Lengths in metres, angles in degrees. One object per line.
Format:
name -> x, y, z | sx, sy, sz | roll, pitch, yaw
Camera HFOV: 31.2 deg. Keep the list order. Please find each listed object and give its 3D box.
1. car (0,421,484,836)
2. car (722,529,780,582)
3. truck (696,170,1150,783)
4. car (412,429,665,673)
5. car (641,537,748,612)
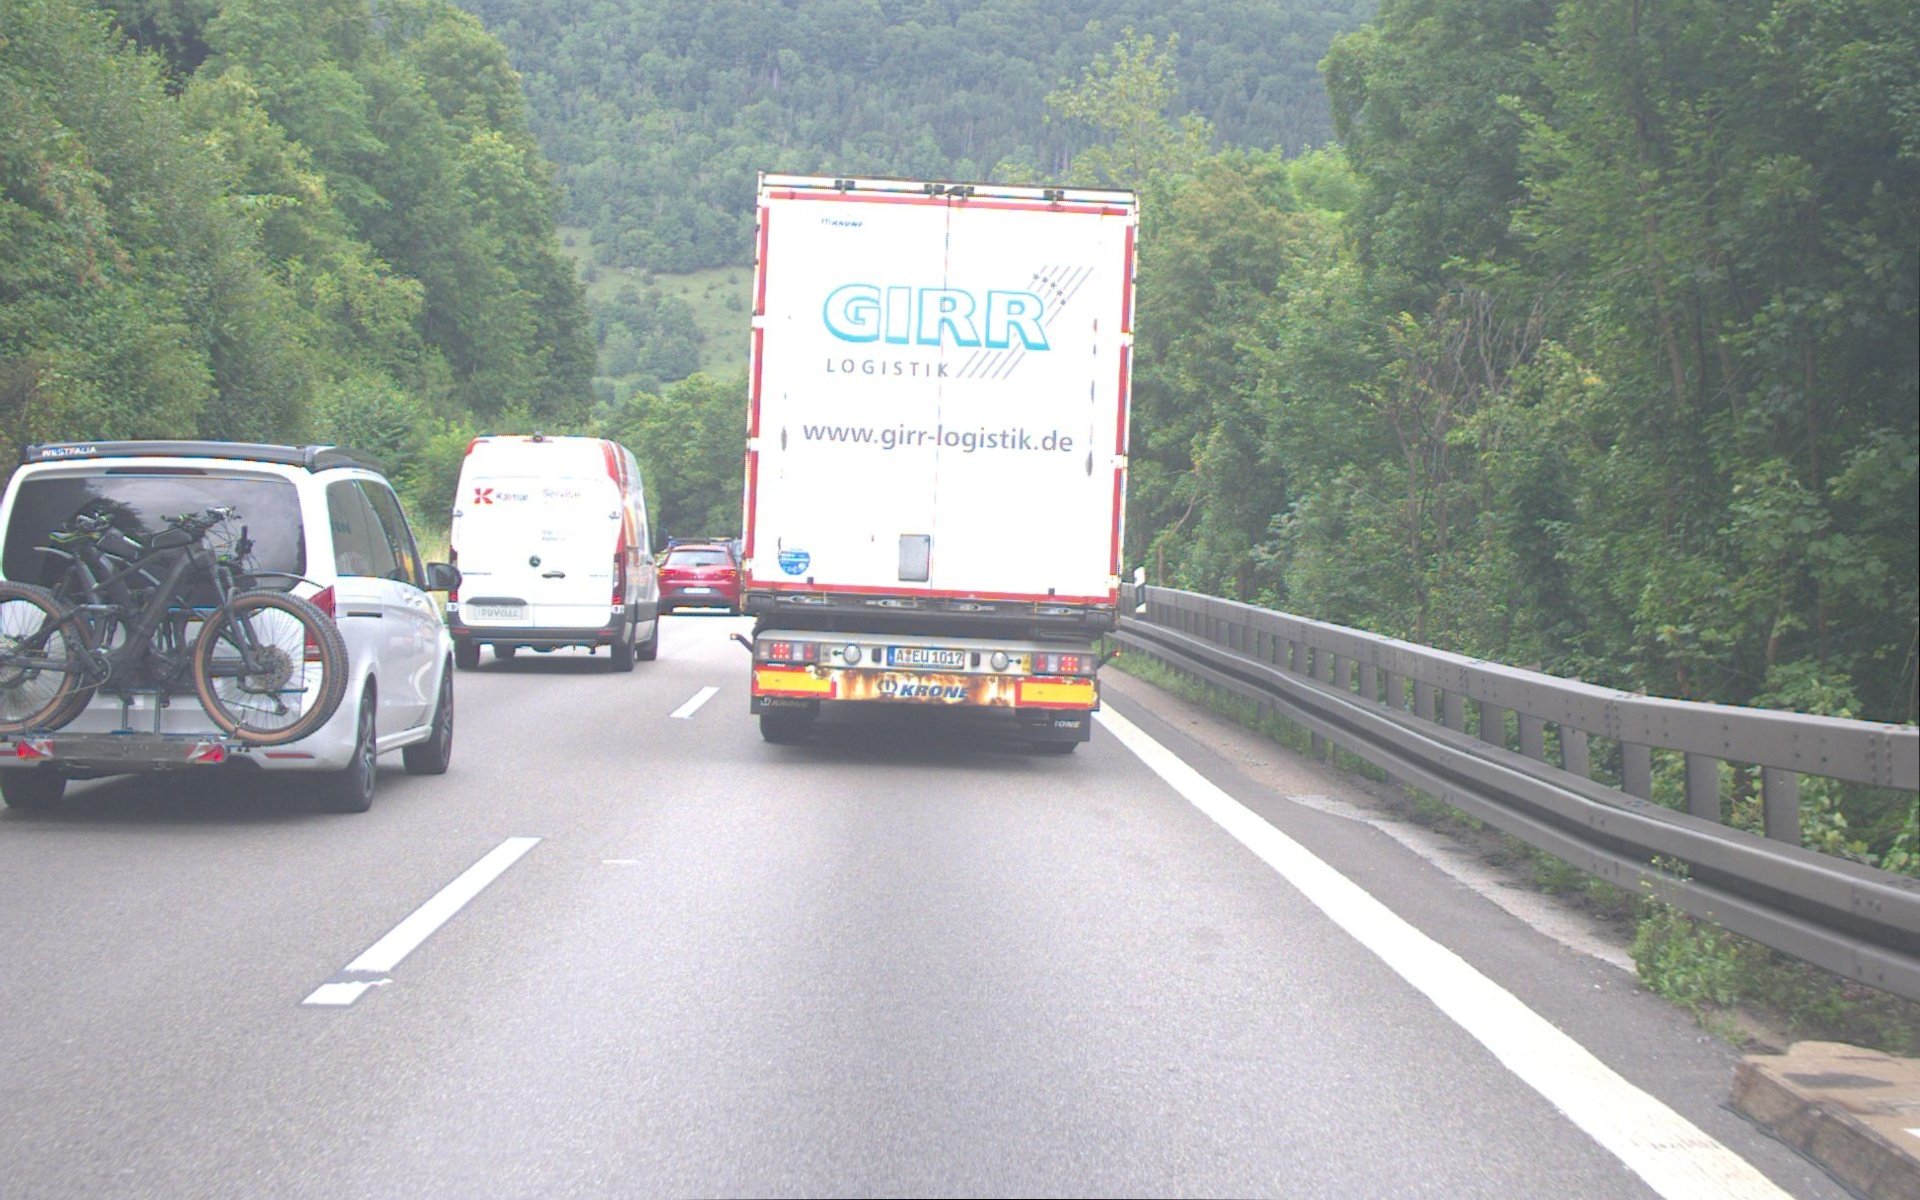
car -> -4.030, 0.067, 19.363 | 1.993, 1.946, 6.148 | 1, 1, -2
car -> -6.608, -1.405, 109.216 | 1.669, 1.633, 4.068 | -1, 1, -1
truck -> -0.282, -0.873, 26.927 | 2.908, 3.947, 9.279 | -1, 1, -1
car -> -4.763, -0.560, 39.804 | 2.026, 2.576, 6.274 | -1, 1, 1
car -> -5.416, -0.533, 70.581 | 1.766, 1.455, 4.411 | -1, 1, 1
